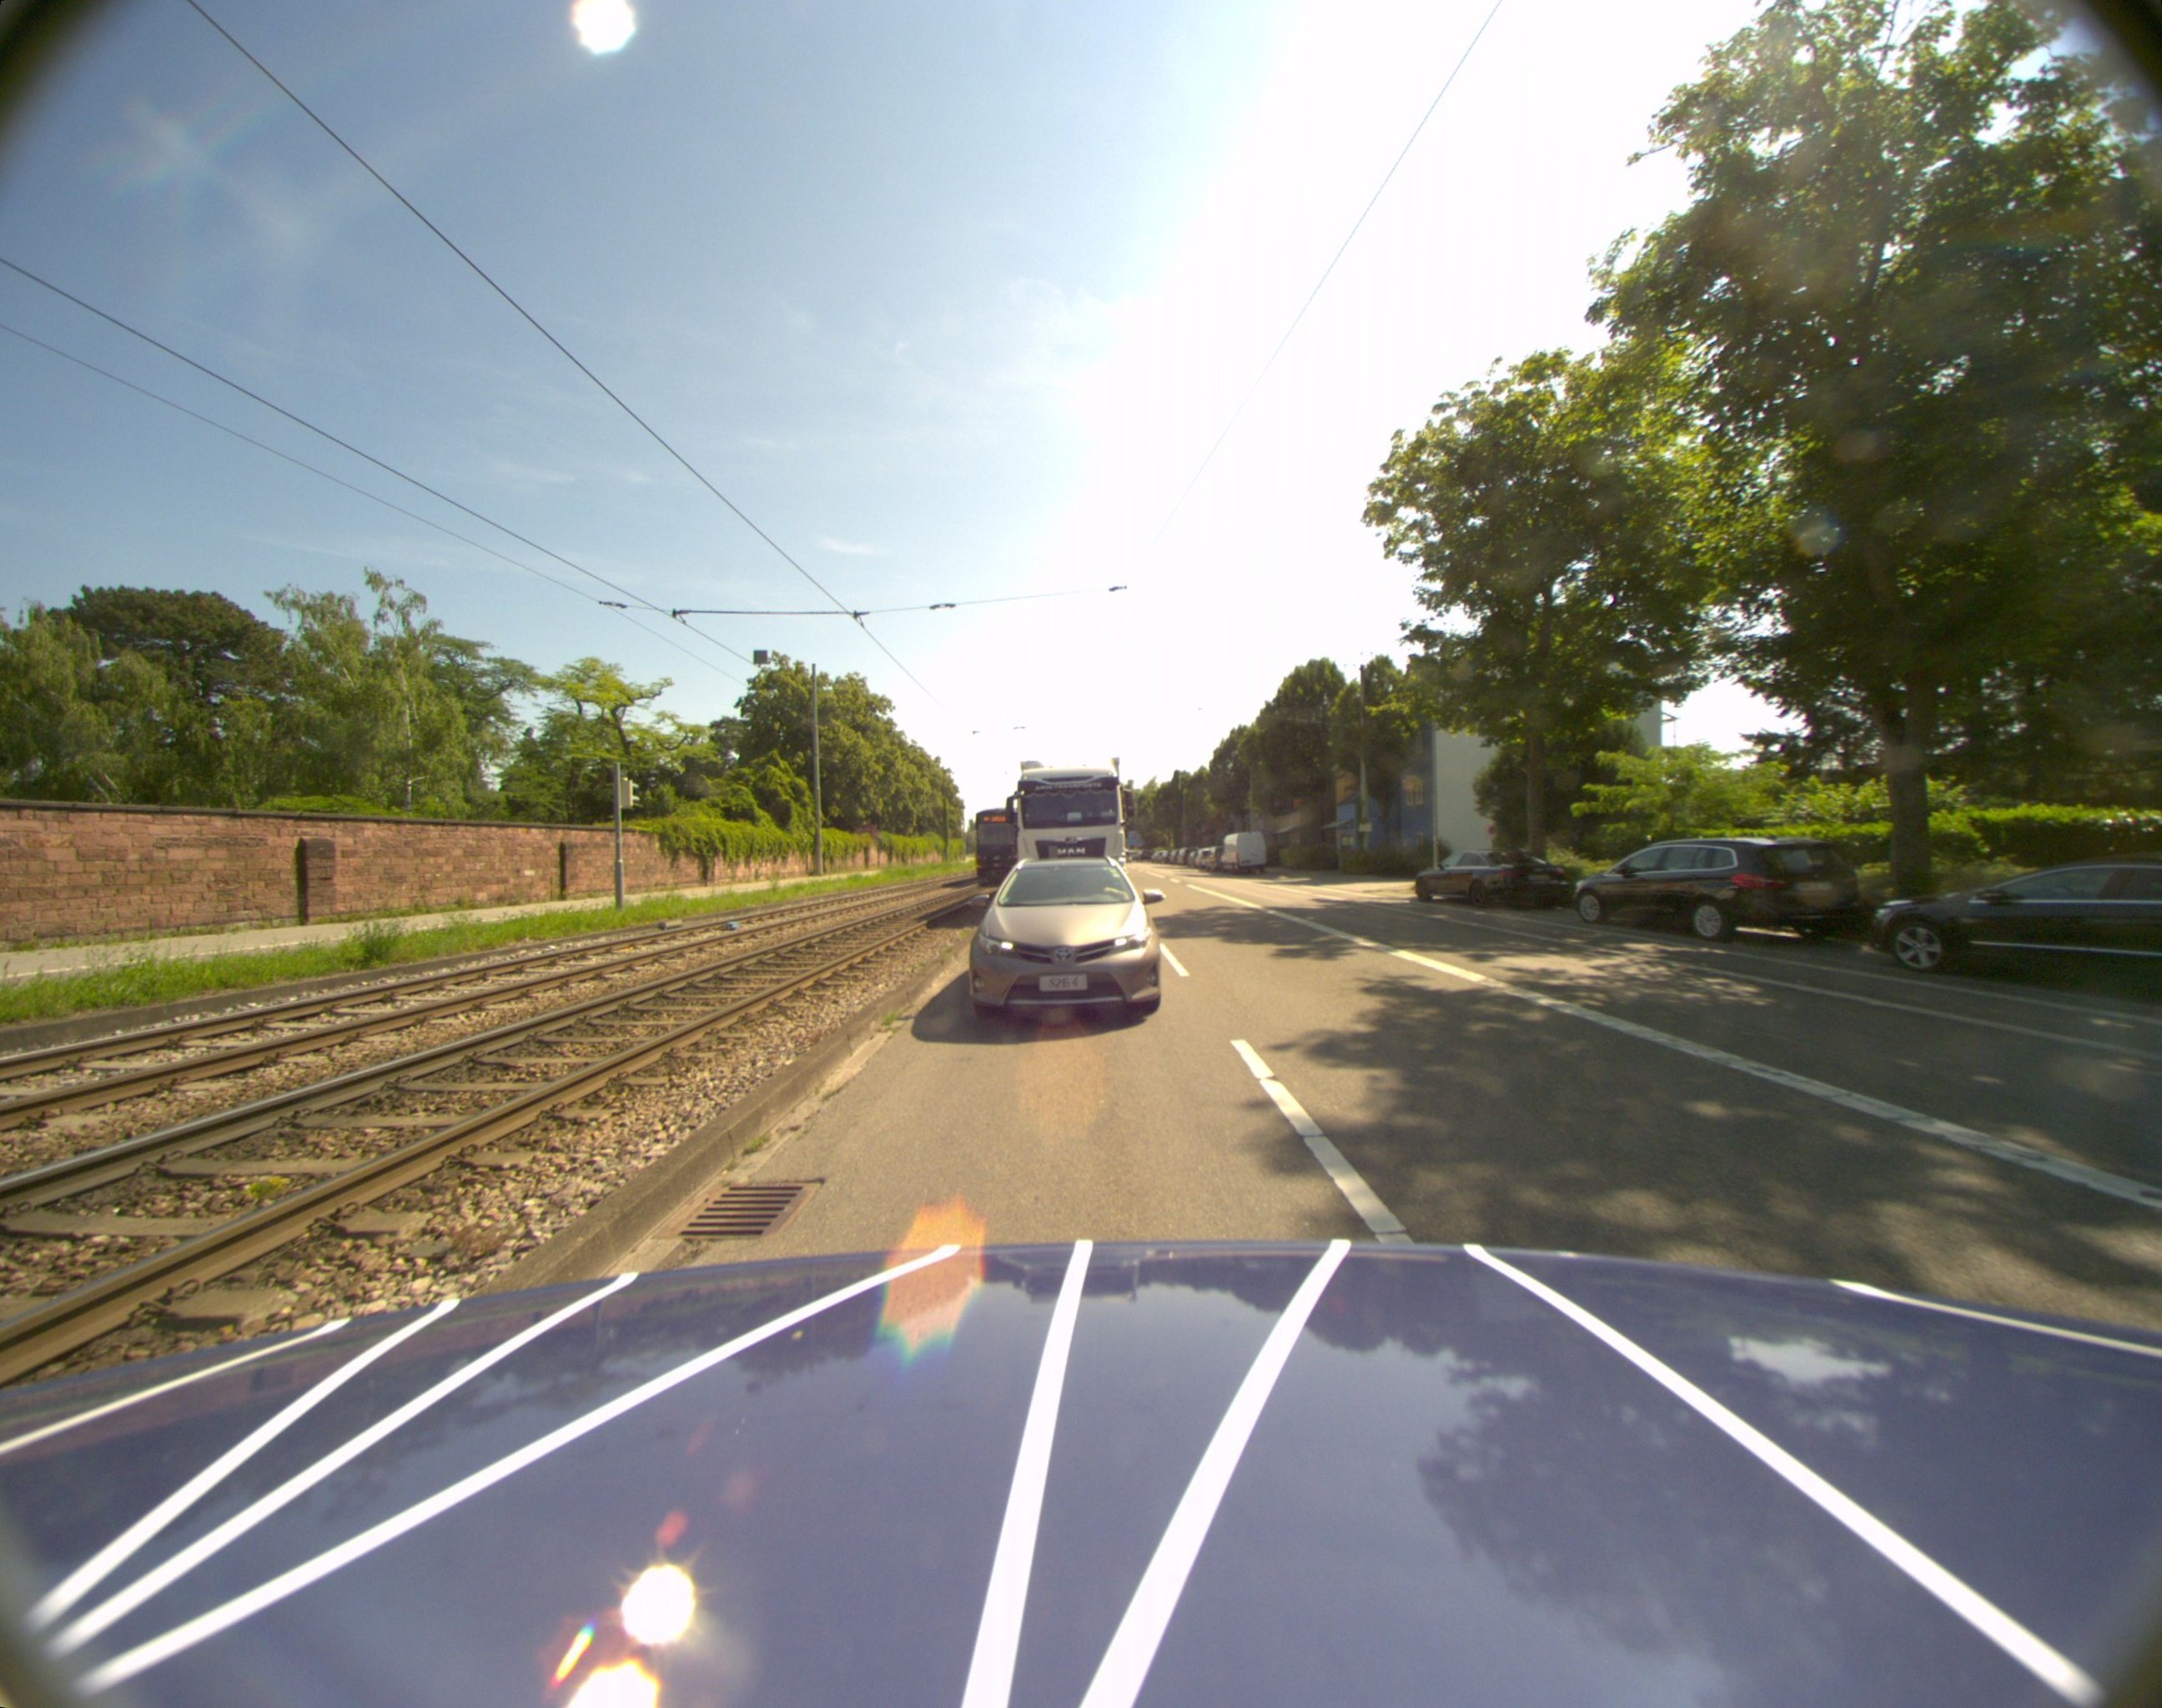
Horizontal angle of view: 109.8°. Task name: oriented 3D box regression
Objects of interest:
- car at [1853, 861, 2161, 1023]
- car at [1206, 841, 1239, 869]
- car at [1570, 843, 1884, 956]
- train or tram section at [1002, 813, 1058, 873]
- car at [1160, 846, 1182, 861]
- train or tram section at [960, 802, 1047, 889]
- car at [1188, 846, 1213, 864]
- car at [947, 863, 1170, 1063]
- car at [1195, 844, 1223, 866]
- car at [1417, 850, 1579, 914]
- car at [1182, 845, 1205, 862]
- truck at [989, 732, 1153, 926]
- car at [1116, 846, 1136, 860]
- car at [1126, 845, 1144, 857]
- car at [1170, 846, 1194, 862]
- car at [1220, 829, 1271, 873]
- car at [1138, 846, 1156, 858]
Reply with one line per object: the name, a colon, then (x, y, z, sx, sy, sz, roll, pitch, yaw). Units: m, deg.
car: (10.597, 0.816, 7.326, 1.701, 1.387, 4.580, 0, 1, 1)
car: (10.922, 0.047, 58.973, 1.679, 1.925, 4.457, -4, 1, 1)
car: (10.575, 0.630, 12.953, 1.679, 1.603, 4.241, 0, 1, -1)
train or tram section: (-3.493, -0.859, 57.259, 2.679, 3.631, 18.953, -3, 1, 0)
car: (10.178, -0.087, 86.237, 1.679, 1.493, 3.765, -4, 1, -3)
train or tram section: (-3.639, -0.511, 40.163, 2.676, 3.631, 15.302, -3, 1, 1)
car: (10.978, 0.043, 70.075, 1.679, 1.493, 3.766, -4, 1, 1)
car: (-0.159, 0.897, 8.061, 1.719, 1.439, 4.030, -2, 1, 1)
car: (10.846, 0.071, 64.653, 1.679, 1.659, 4.147, -4, 1, 1)
car: (10.569, 0.639, 19.699, 1.679, 1.427, 4.456, 0, 1, -1)
car: (11.031, -0.050, 74.774, 1.679, 1.493, 3.766, -4, 1, 1)
truck: (-0.145, -0.619, 23.522, 3.391, 4.046, 14.284, -2, 1, 1)
car: (5.222, -0.133, 88.931, 1.848, 1.587, 3.998, 0, 1, -4)
car: (7.922, -0.428, 112.272, 1.680, 1.493, 3.763, -4, 1, -10)
car: (10.673, -0.009, 80.449, 1.679, 1.493, 3.765, -4, 1, -3)
car: (10.878, -0.237, 50.674, 2.016, 2.636, 6.085, -4, 1, 1)
car: (9.027, -0.322, 103.734, 1.680, 1.493, 3.764, -4, 1, -6)
